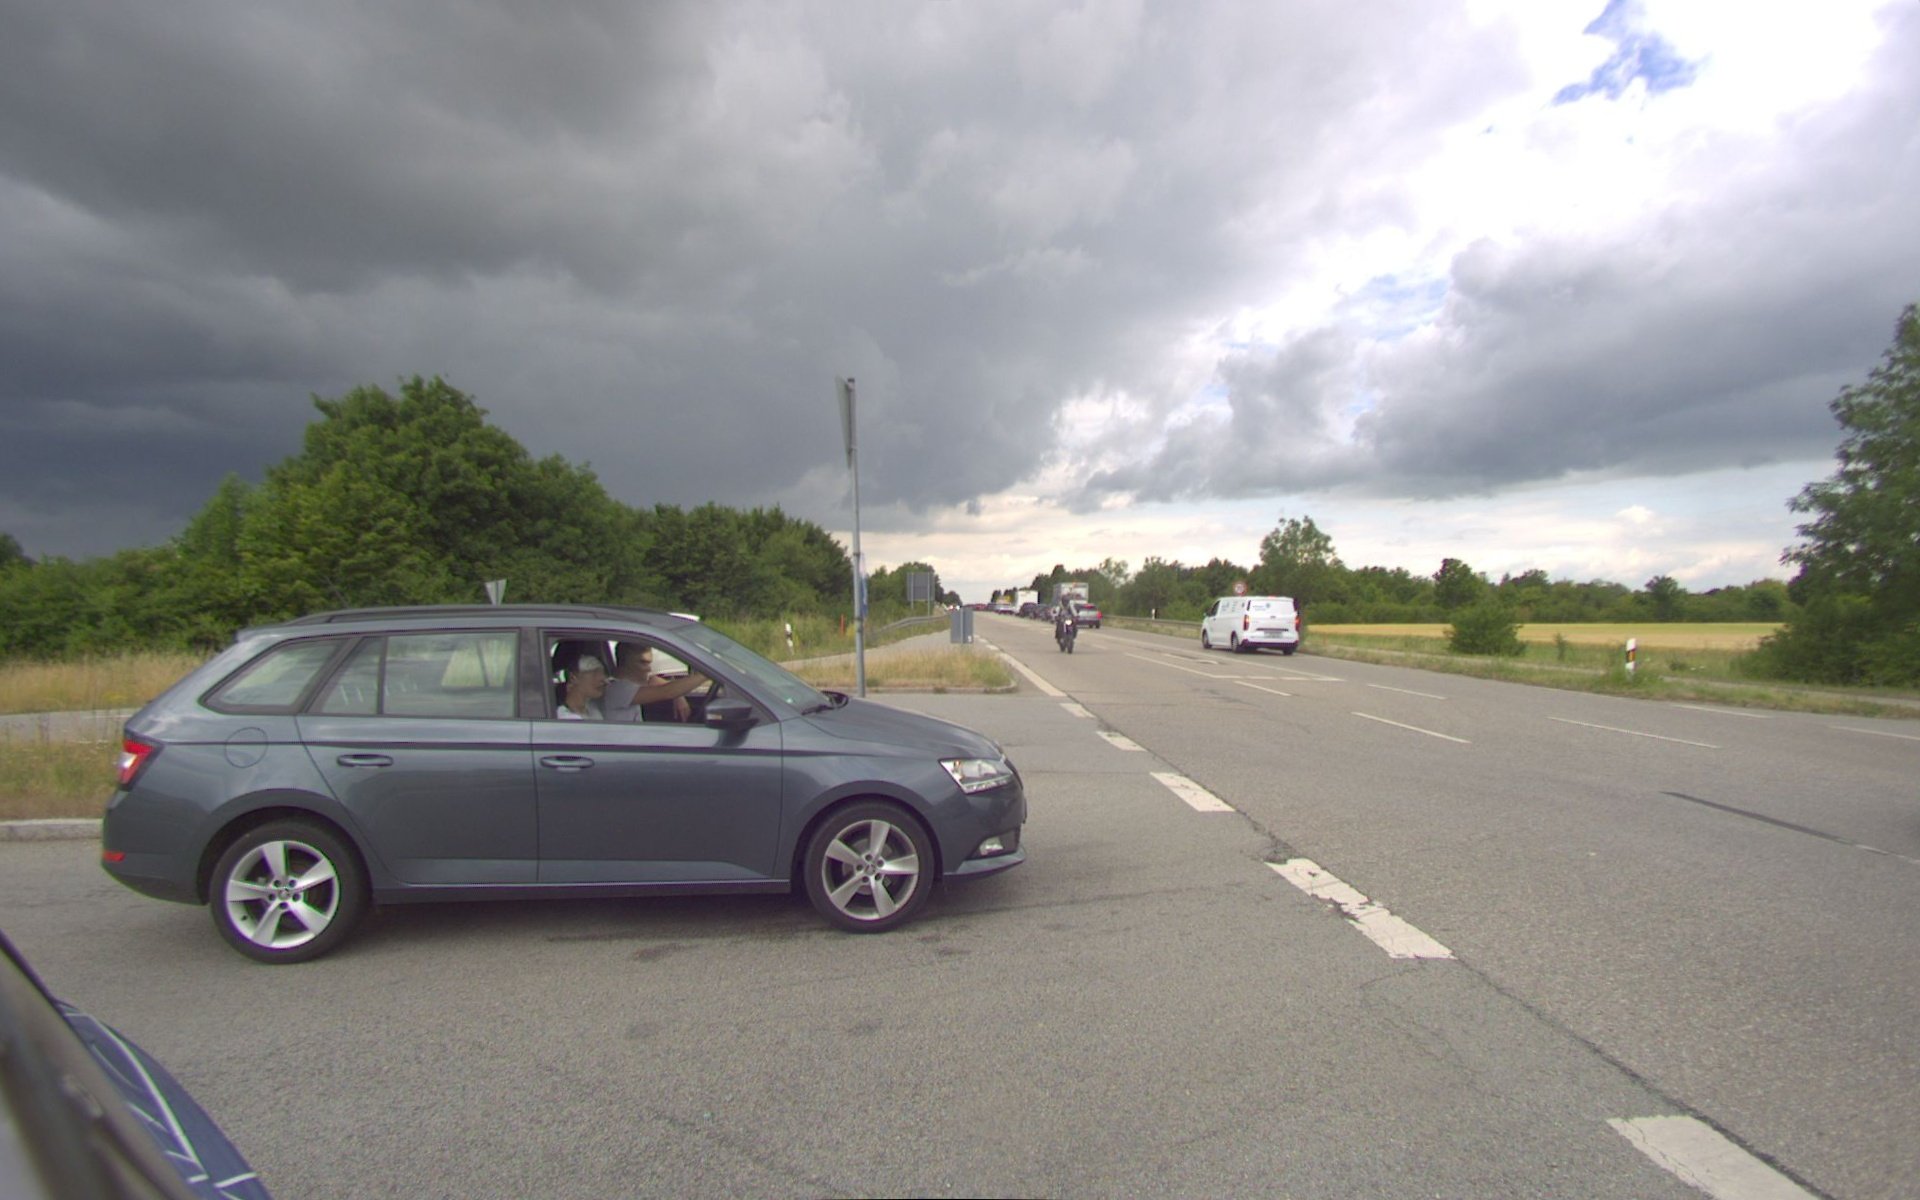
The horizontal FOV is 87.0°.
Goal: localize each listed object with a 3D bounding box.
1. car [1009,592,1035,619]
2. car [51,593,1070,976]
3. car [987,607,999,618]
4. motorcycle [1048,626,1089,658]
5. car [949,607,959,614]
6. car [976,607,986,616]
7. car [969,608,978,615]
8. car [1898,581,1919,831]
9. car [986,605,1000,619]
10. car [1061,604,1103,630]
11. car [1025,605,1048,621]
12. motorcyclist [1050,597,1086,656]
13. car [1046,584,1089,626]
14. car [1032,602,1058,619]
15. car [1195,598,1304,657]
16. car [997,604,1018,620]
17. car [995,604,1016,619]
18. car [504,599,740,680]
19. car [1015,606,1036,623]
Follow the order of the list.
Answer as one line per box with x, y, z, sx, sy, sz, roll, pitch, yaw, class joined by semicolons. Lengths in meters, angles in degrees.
7.212;0.714;117.746;2.307;3.052;6.561;-1;-1;-2;car
-1.650;0.713;5.065;4.052;1.458;1.722;-1;0;-8;car
5.376;2.006;165.791;1.831;1.763;4.001;0;-1;-1;car
3.282;1.251;30.720;0.930;0.896;2.146;0;0;-2;motorcycle
-1.181;2.106;205.212;1.971;1.493;4.001;0;0;-2;car
4.116;2.322;200.313;1.831;1.763;4.001;0;-1;-1;car
3.107;2.600;225.817;1.771;1.564;4.002;-1;-1;-2;car
7.370;0.690;4.797;1.728;1.671;4.292;1;-1;-2;car
4.867;1.782;149.393;1.771;2.029;4.002;-1;-1;-3;car
8.052;1.142;67.058;1.970;1.636;4.264;2;-1;-3;car
7.458;1.273;98.529;1.822;1.537;4.001;-1;-1;-2;car
3.283;0.793;30.802;0.930;1.763;1.201;0;-1;-2;motorcyclist
8.267;0.418;78.370;2.307;3.052;6.560;2;-1;-2;car
7.622;0.954;91.088;1.822;1.537;4.001;-1;-1;-1;car
9.968;0.938;35.324;2.082;1.900;5.393;0;-1;-2;car
6.079;1.577;129.469;2.307;1.936;4.877;-1;-1;-2;car
6.079;1.512;135.430;2.307;1.936;4.877;-1;-1;-2;car
-6.767;0.755;20.663;1.770;1.462;4.335;-1;-1;39;car
6.979;1.513;108.025;1.831;1.763;4.002;0;-1;-2;car
